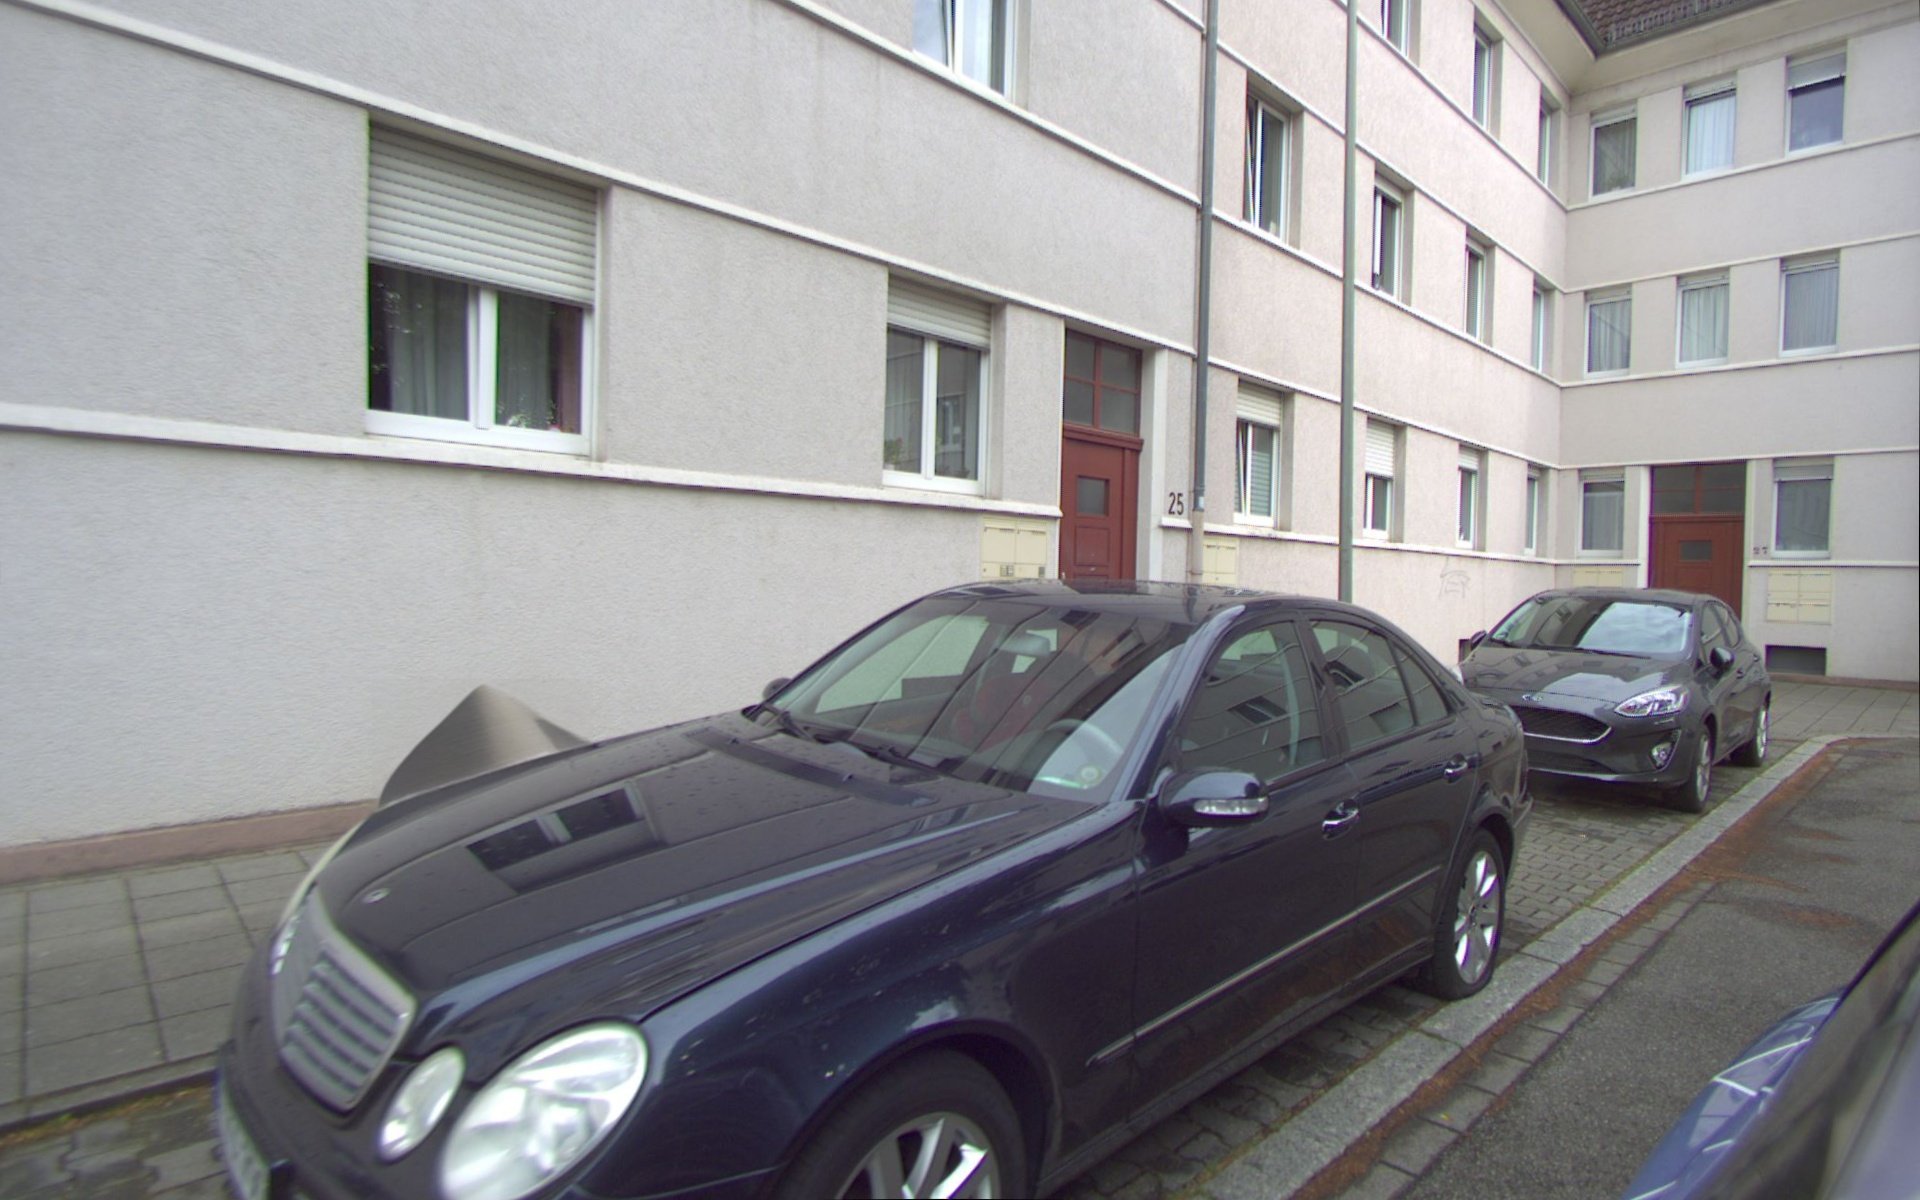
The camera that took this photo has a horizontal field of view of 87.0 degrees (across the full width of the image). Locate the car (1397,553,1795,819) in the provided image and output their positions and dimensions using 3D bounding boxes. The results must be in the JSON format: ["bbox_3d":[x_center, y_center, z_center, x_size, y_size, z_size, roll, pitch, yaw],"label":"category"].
[{"bbox_3d":[5.171,0.491,7.982,4.012,1.544,1.758,1,2,-45],"label":"car"}]

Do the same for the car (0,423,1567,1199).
[{"bbox_3d":[0.191,0.542,3.163,4.868,1.438,1.746,1,2,-45],"label":"car"}]
